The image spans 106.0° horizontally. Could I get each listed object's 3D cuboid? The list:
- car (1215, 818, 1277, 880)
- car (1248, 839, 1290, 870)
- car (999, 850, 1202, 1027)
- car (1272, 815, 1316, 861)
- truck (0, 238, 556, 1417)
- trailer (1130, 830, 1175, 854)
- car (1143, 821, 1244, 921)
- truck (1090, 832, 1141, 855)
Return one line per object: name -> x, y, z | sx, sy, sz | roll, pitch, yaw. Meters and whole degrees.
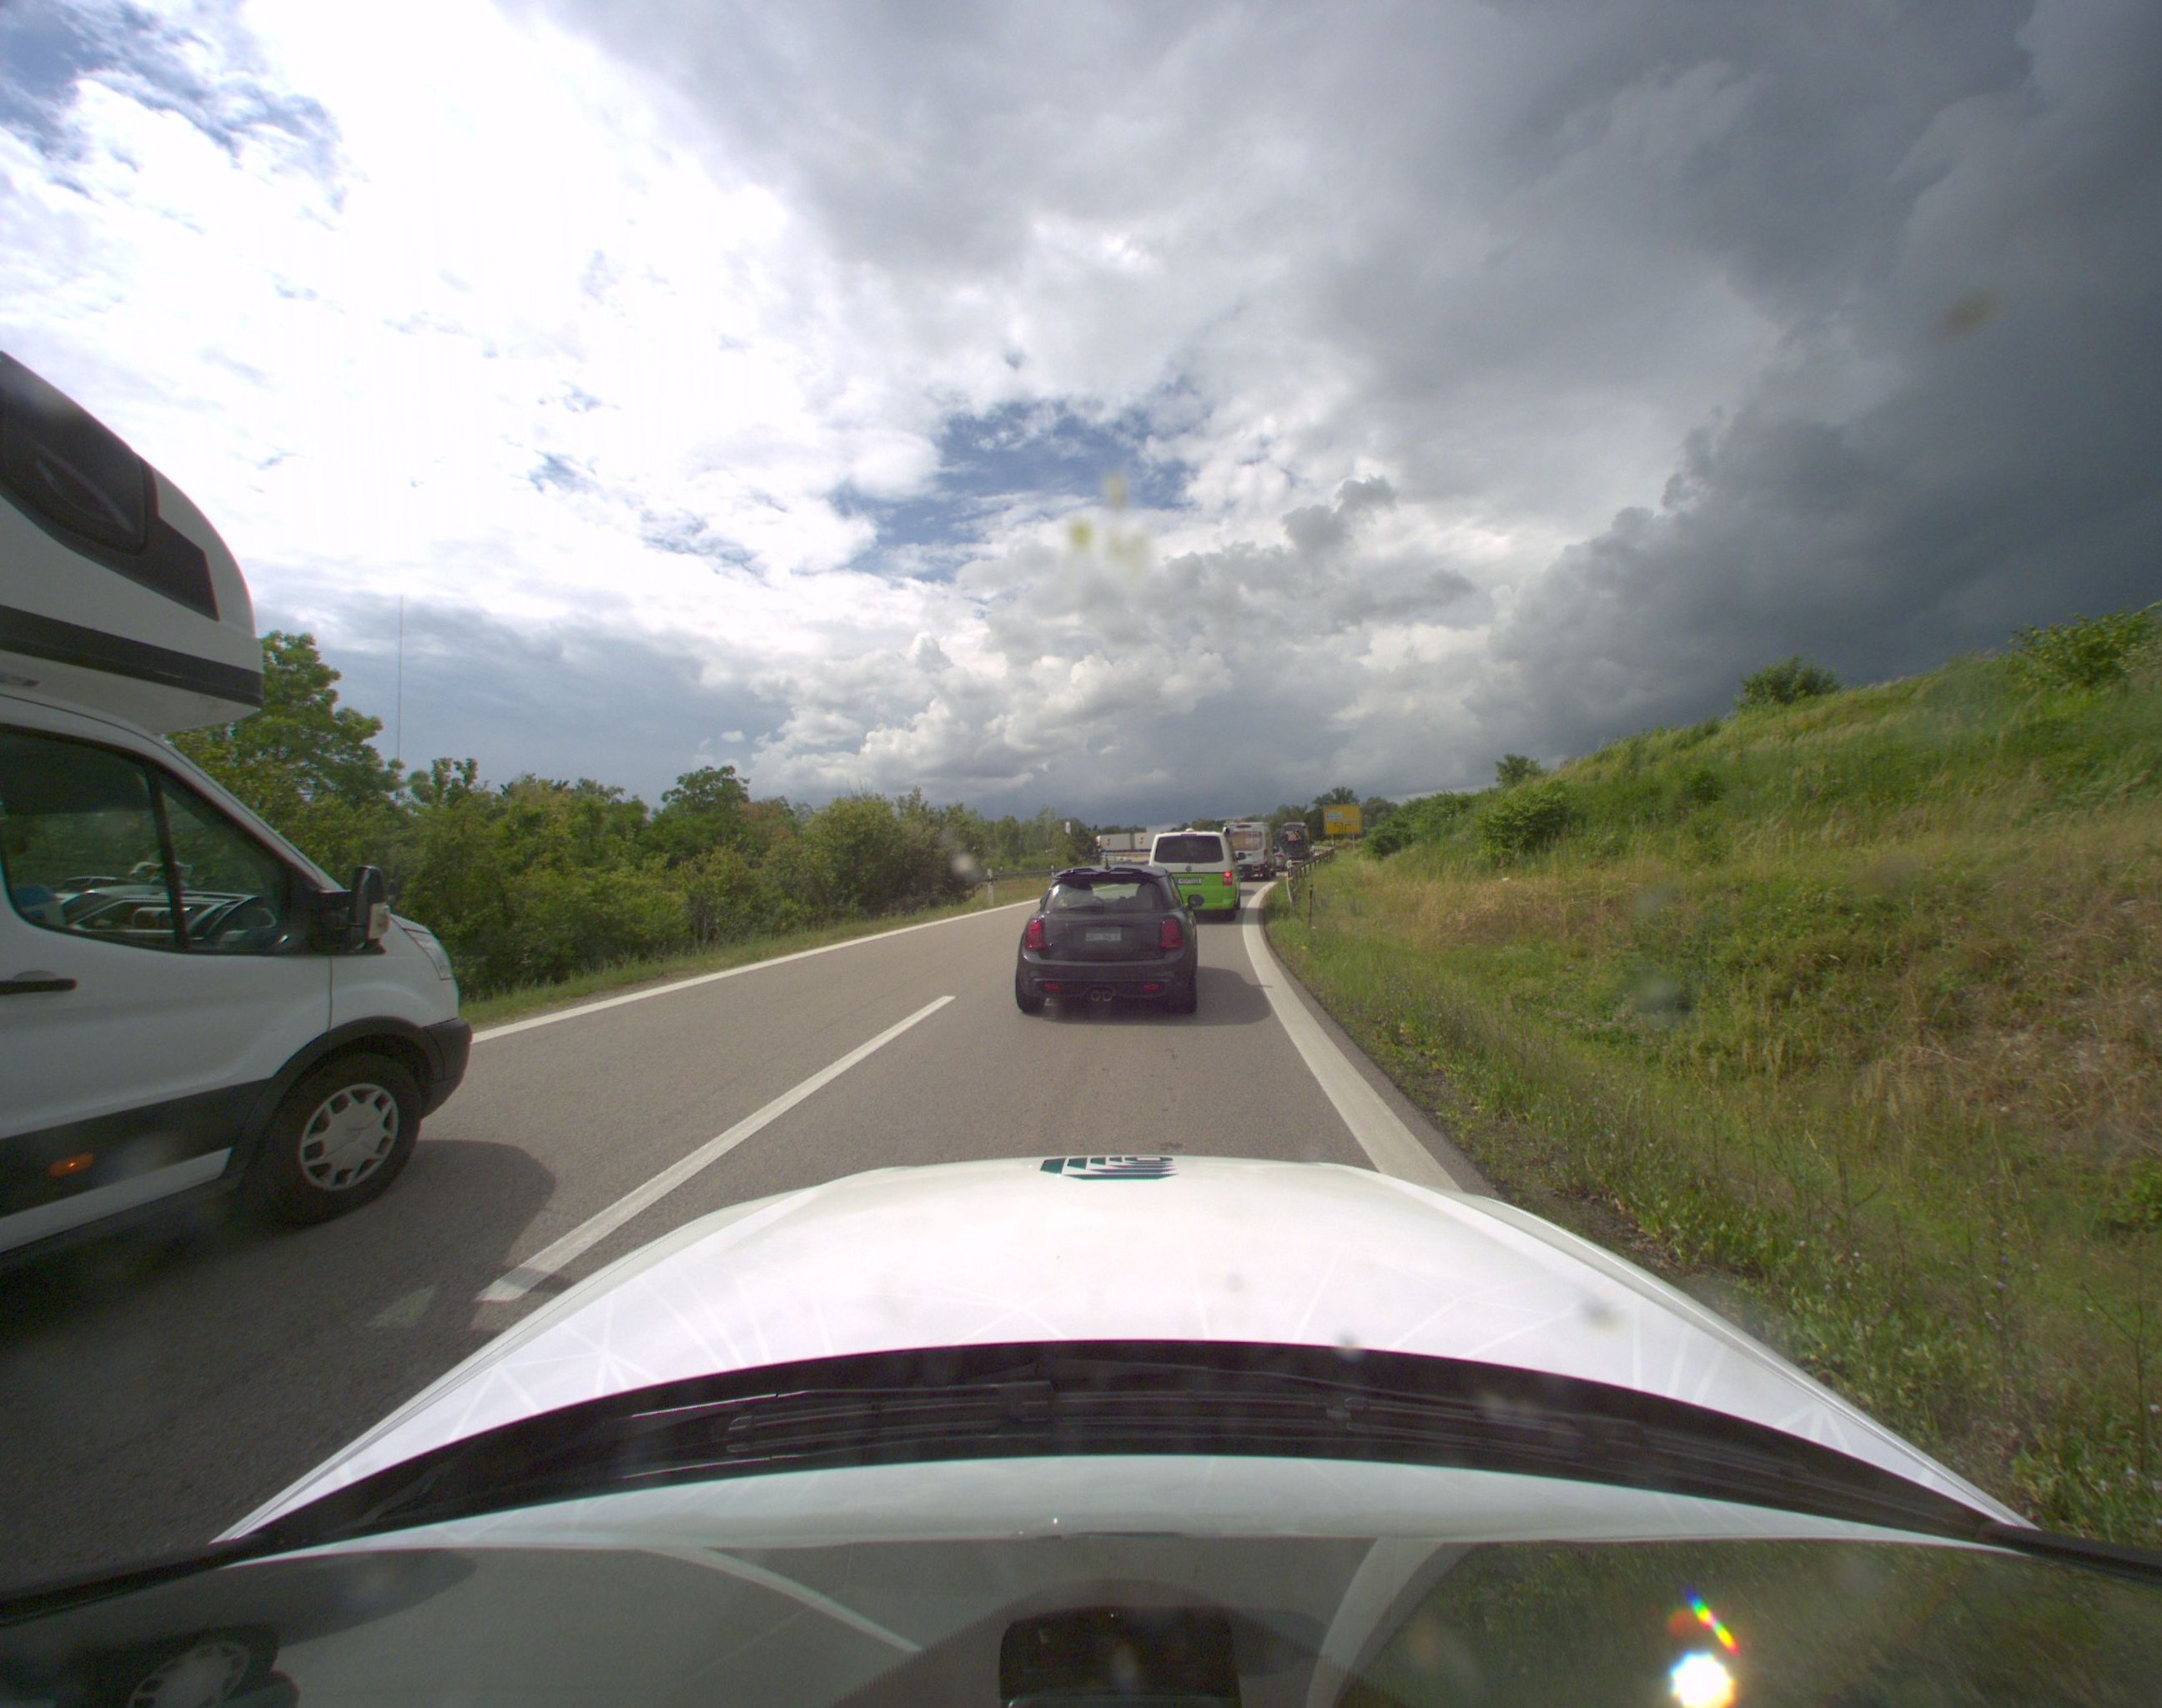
car -> 7.648, -0.201, 37.263 | 2.194, 2.622, 5.559 | -1, -1, 18
car -> 10.731, 0.046, 46.289 | 1.978, 1.642, 3.946 | -1, -1, 17
car -> 0.419, 0.751, 9.099 | 1.790, 1.546, 3.747 | -1, 0, 8
car -> 15.323, -1.032, 58.259 | 2.291, 3.069, 6.696 | -1, -1, 21
truck -> -4.231, -0.080, 0.667 | 2.550, 3.168, 7.471 | 0, -1, 2
trailer -> 12.308, -2.024, 141.755 | 3.057, 3.898, 8.681 | 0, -1, -33
car -> 2.716, 0.362, 18.805 | 1.898, 2.045, 4.196 | -1, 0, 13
truck -> 6.195, -1.914, 148.743 | 2.862, 3.976, 9.905 | 0, -1, -45
